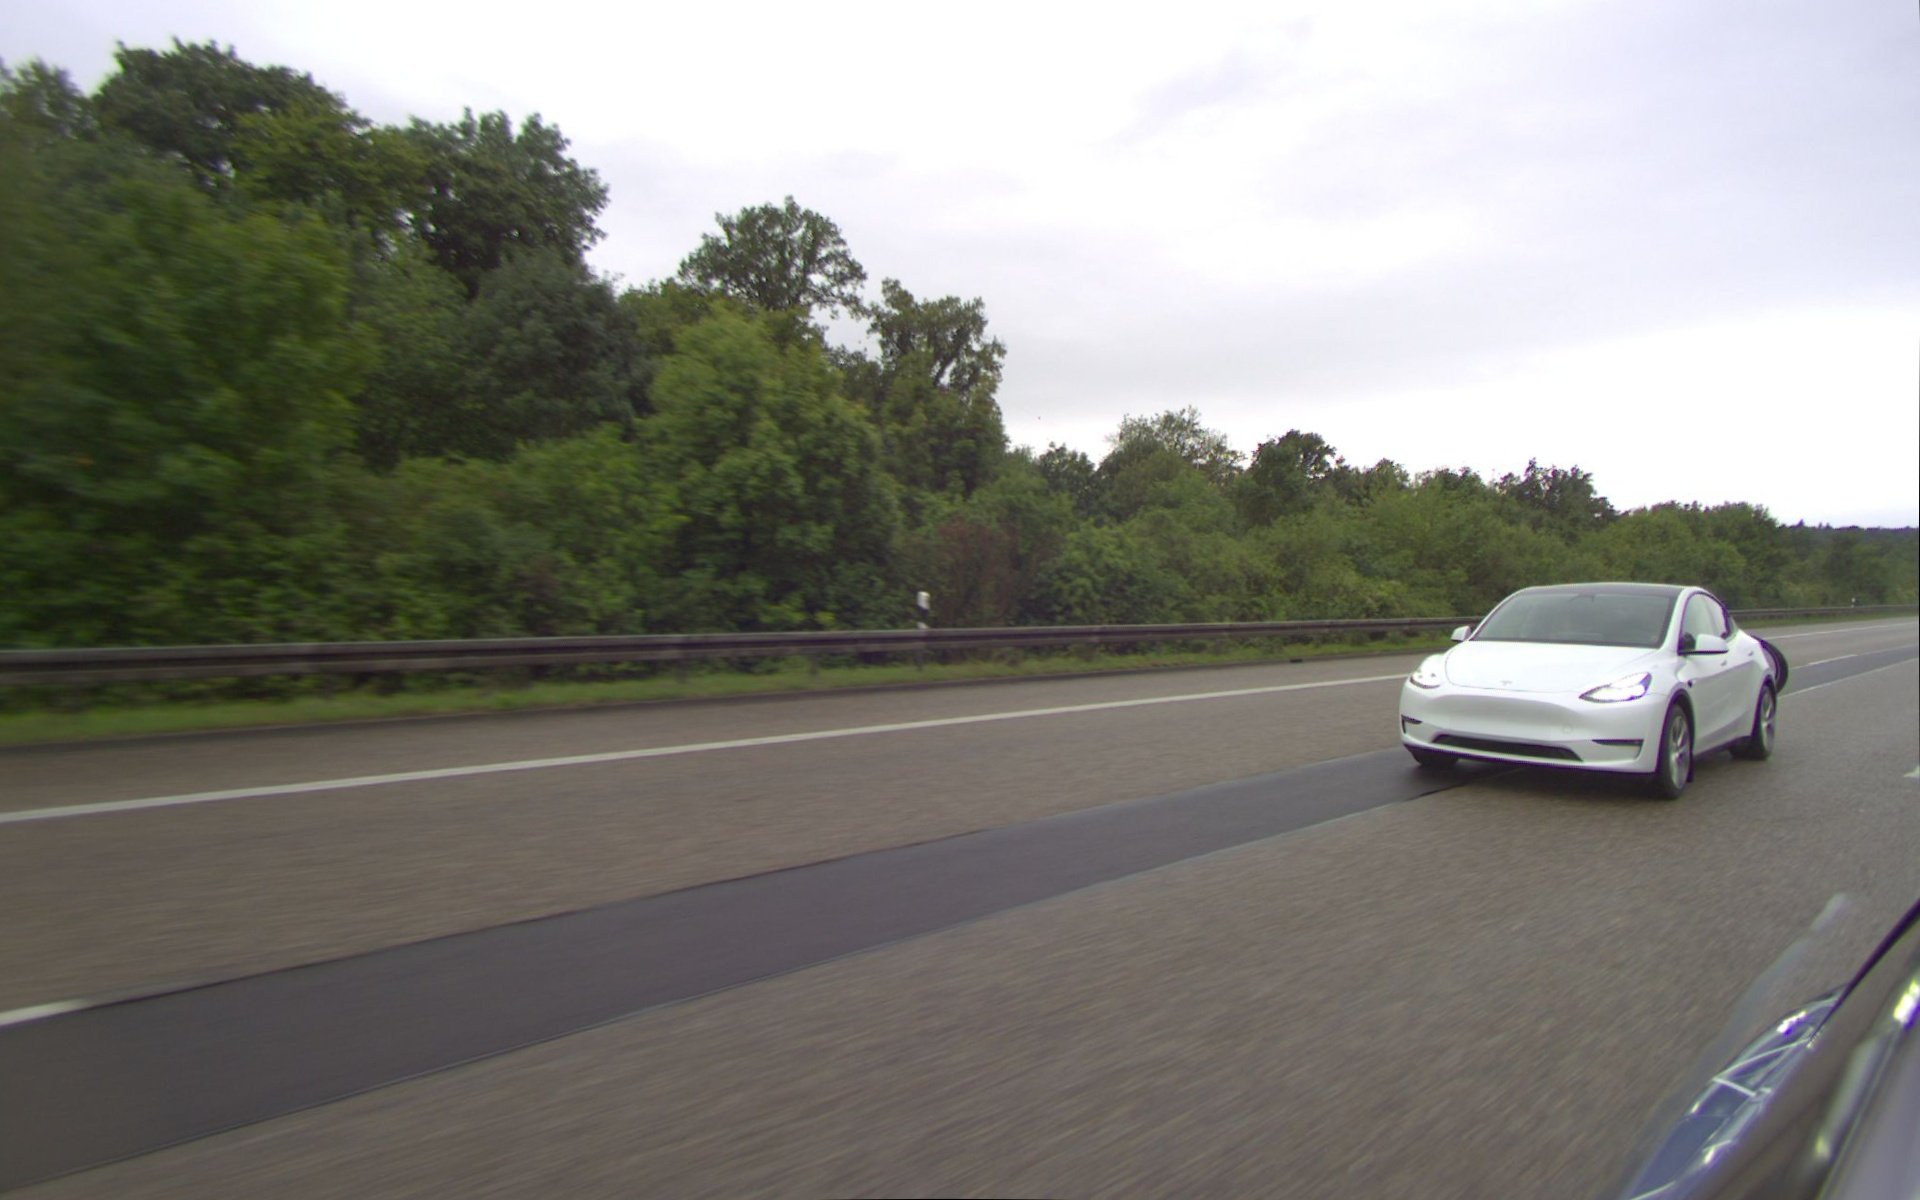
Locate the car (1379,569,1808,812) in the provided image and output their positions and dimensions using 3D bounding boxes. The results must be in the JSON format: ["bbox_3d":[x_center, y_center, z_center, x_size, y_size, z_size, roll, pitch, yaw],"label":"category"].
[{"bbox_3d":[5.762,0.556,8.907,4.877,1.587,1.864,-1,1,-41],"label":"car"}]

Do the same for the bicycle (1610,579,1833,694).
[{"bbox_3d":[8.062,0.332,10.771,0.898,1.104,1.757,-2,2,-40],"label":"bicycle"}]
